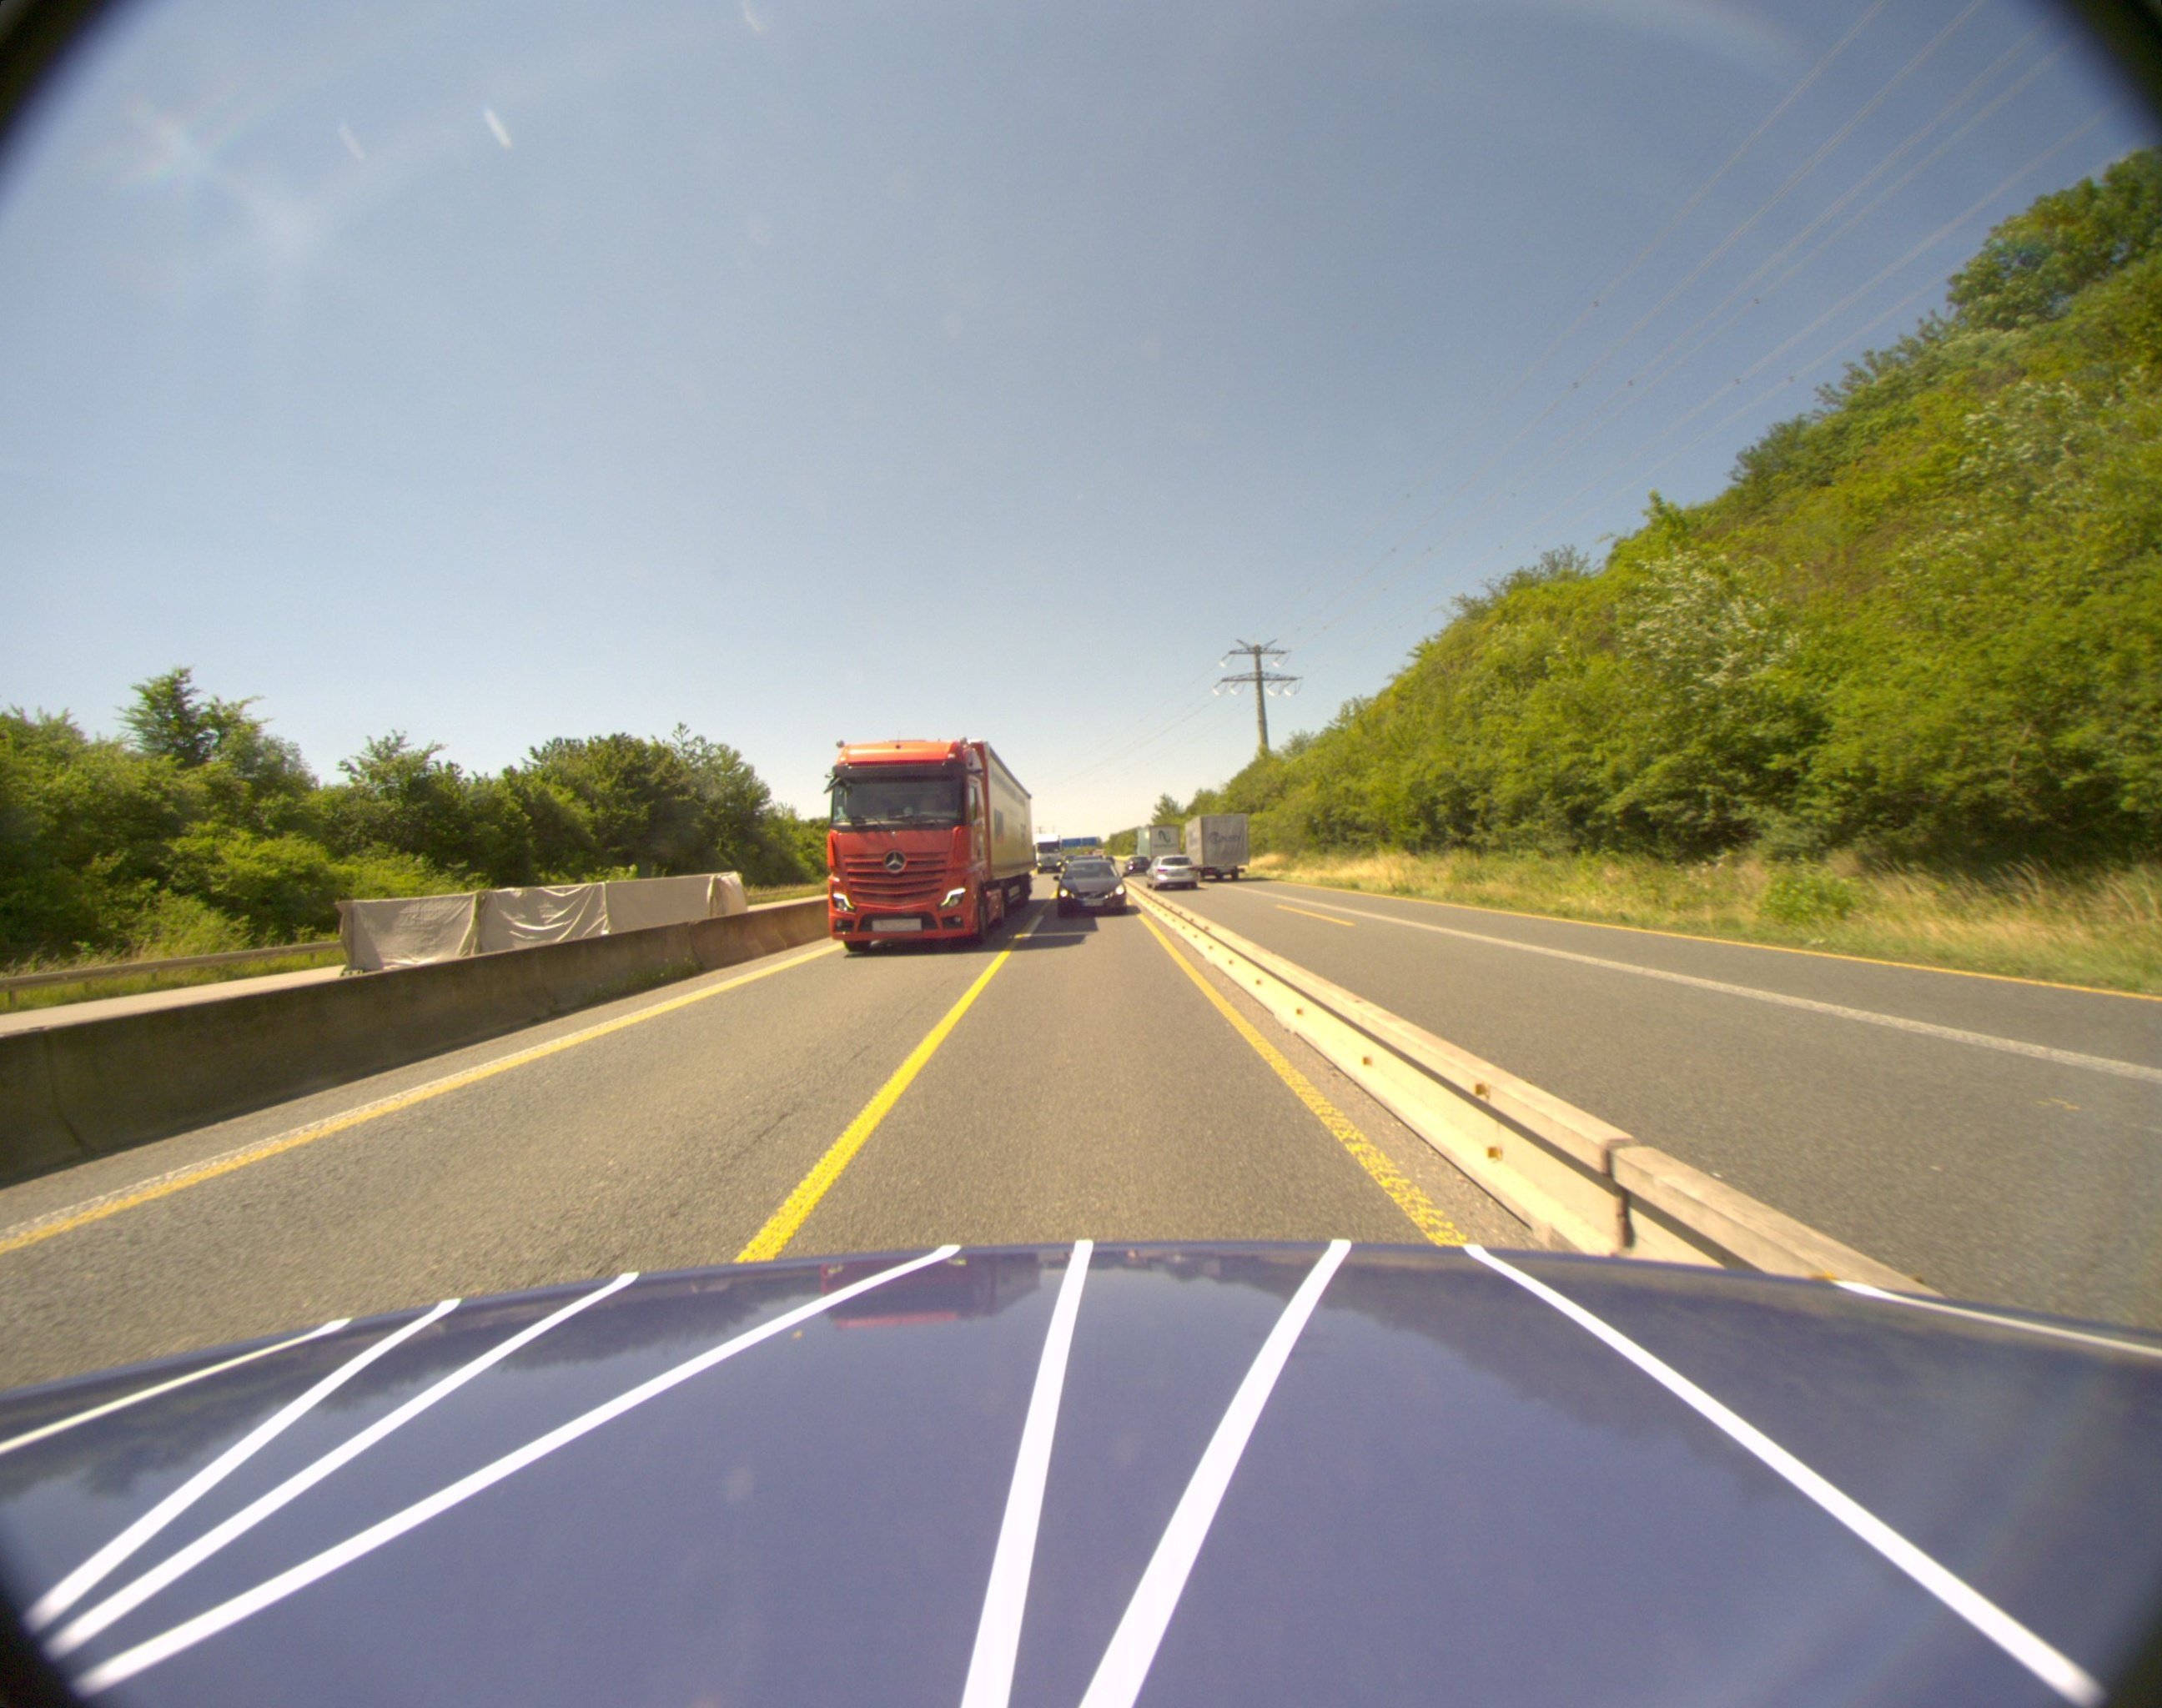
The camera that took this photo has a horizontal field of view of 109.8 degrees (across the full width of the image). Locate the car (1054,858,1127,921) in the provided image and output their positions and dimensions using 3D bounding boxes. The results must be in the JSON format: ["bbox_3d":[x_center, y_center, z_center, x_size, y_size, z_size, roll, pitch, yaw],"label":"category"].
[{"bbox_3d":[0.269,0.914,21.428,1.767,1.411,4.698,-3,1,1],"label":"car"}]

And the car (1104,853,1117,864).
[{"bbox_3d":[4.650,0.699,120.168,1.904,1.496,4.275,-3,0,0],"label":"car"}]

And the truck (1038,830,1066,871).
[{"bbox_3d":[-3.028,-0.384,82.305,2.481,4.030,13.109,-3,0,-1],"label":"truck"}]

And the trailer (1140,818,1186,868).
[{"bbox_3d":[7.556,-0.960,71.849,2.899,4.101,13.243,-3,0,1],"label":"trailer"}]

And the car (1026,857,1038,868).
[{"bbox_3d":[-8.106,1.391,125.536,1.767,1.523,4.697,-3,1,-2],"label":"car"}]

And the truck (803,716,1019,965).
[{"bbox_3d":[-3.085,-0.206,15.892,2.689,3.986,6.726,-3,0,1],"label":"truck"}]

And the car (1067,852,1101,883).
[{"bbox_3d":[0.179,0.710,42.591,1.767,1.523,4.698,-3,1,1],"label":"car"}]

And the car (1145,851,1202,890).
[{"bbox_3d":[3.903,0.669,32.595,1.846,1.481,4.510,-1,1,0],"label":"car"}]

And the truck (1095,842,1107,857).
[{"bbox_3d":[5.291,-1.234,205.774,2.943,3.754,11.378,-4,0,1],"label":"truck"}]

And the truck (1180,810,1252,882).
[{"bbox_3d":[6.919,-0.404,39.960,2.411,3.311,7.499,-3,0,0],"label":"truck"}]

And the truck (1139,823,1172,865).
[{"bbox_3d":[7.686,-0.983,79.071,2.902,4.094,6.020,-2,0,1],"label":"truck"}]

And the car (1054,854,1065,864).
[{"bbox_3d":[-3.864,0.854,135.761,1.767,1.523,4.698,-3,1,-1],"label":"car"}]

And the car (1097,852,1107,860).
[{"bbox_3d":[4.217,0.479,154.593,1.904,1.507,4.275,-3,1,1],"label":"car"}]

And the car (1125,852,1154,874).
[{"bbox_3d":[4.281,0.623,55.893,1.765,1.481,4.401,-3,1,1],"label":"car"}]

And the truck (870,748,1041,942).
[{"bbox_3d":[-3.005,-0.204,22.758,2.689,3.986,13.218,-3,0,0],"label":"truck"}]
